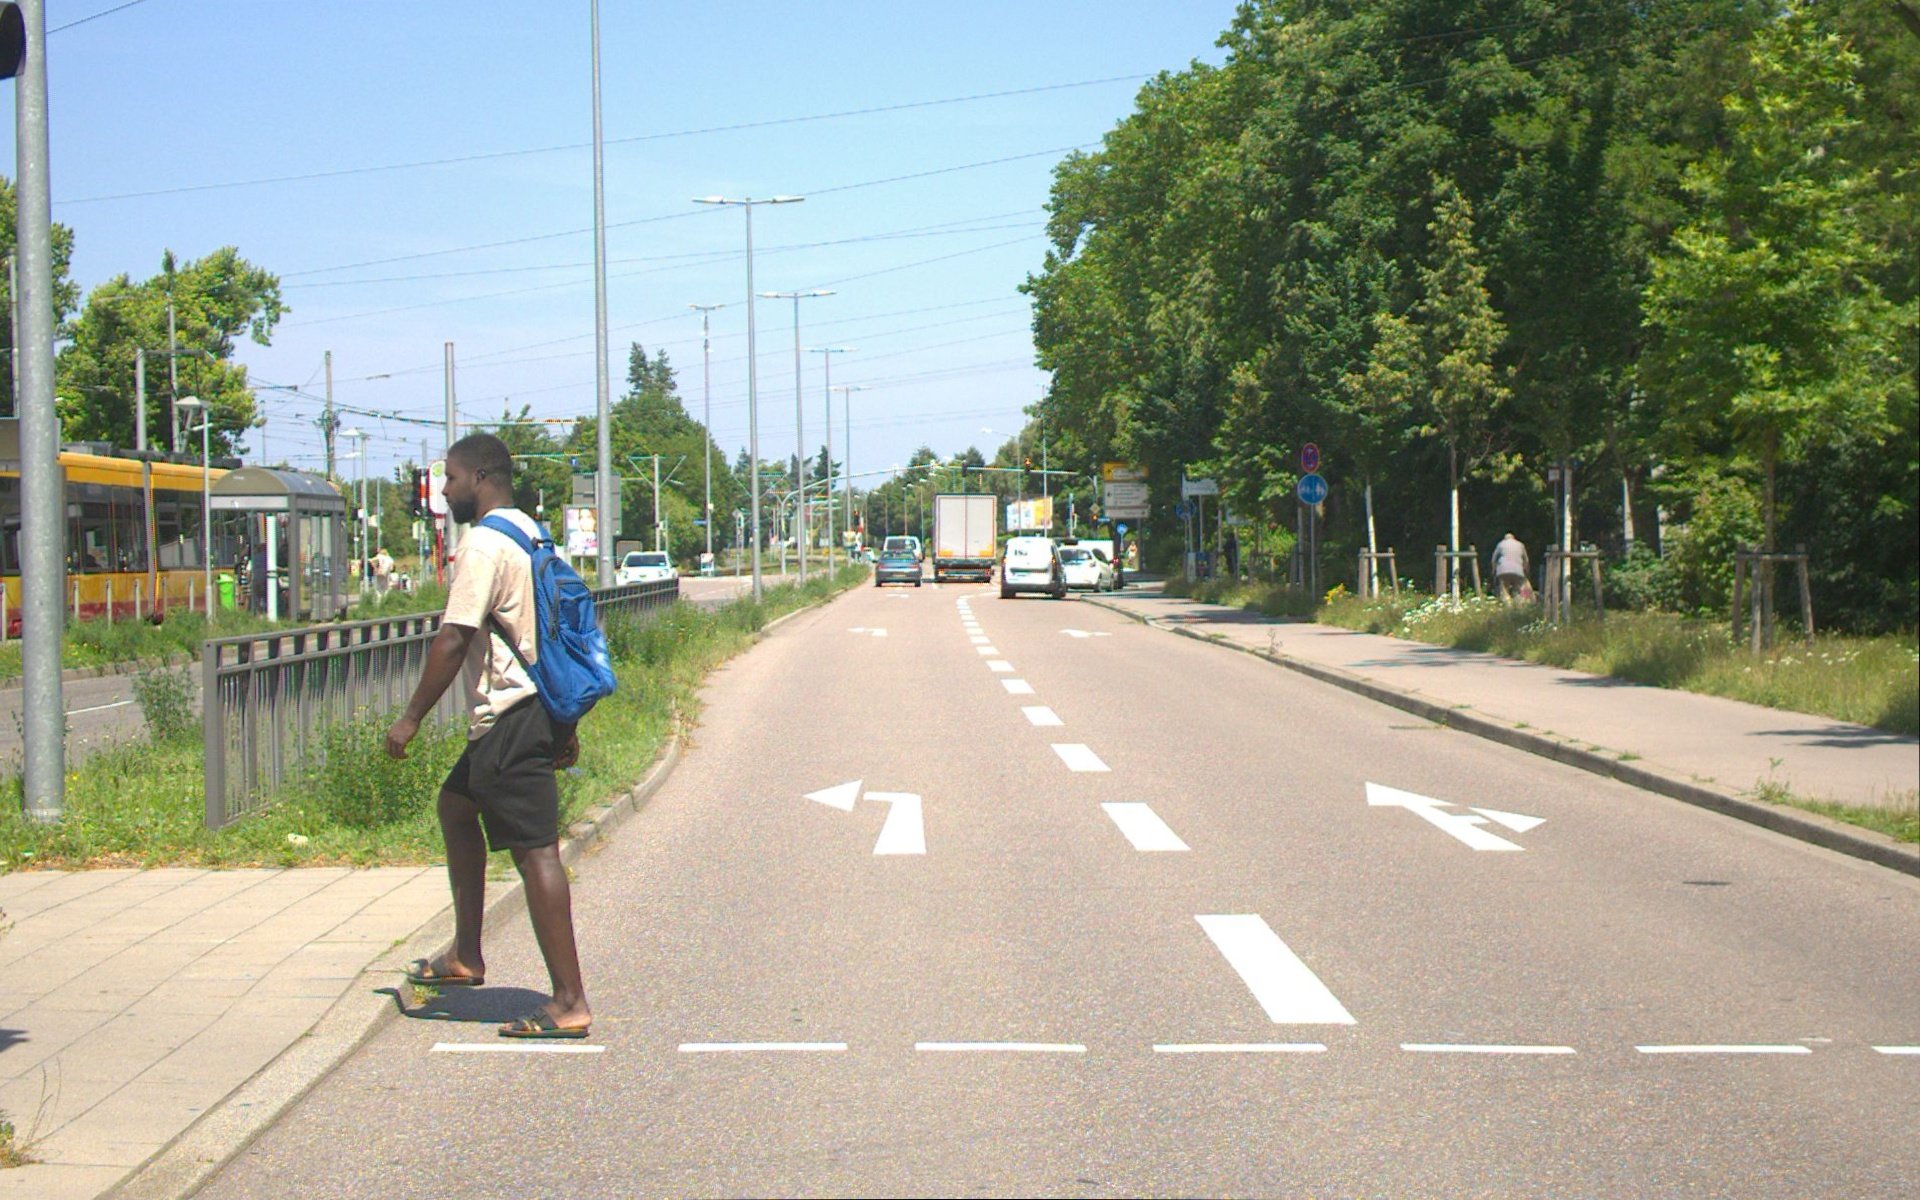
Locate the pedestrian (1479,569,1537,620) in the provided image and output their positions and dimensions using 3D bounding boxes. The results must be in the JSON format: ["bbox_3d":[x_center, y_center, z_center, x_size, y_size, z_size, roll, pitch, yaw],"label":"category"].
[{"bbox_3d":[9.279,-0.100,58.265,0.678,0.845,1.774,0,1,-1],"label":"pedestrian"}]

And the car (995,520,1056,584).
[{"bbox_3d":[1.935,-1.417,100.695,1.728,1.807,4.000,1,1,2],"label":"car"}]

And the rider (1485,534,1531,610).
[{"bbox_3d":[9.282,-0.473,58.227,0.678,1.277,0.534,0,1,-1],"label":"rider"}]

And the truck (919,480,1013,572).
[{"bbox_3d":[0.194,-3.181,148.108,3.899,3.800,10.793,0,1,-1],"label":"truck"}]

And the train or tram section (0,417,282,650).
[{"bbox_3d":[-16.508,-1.204,64.252,2.788,3.655,26.000,0,1,-1],"label":"train or tram section"}]

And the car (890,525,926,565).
[{"bbox_3d":[-2.473,-2.641,164.453,1.687,1.891,3.870,0,1,-1],"label":"car"}]

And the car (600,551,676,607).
[{"bbox_3d":[-9.843,-0.650,105.408,1.993,1.644,4.000,0,1,-1],"label":"car"}]

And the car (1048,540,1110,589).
[{"bbox_3d":[3.859,-1.181,112.204,1.803,1.534,4.000,1,1,-1],"label":"car"}]

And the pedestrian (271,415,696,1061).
[{"bbox_3d":[-1.413,0.386,10.295,1.047,1.844,0.757,0,1,15],"label":"pedestrian"}]

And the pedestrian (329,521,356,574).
[{"bbox_3d":[-23.046,-1.951,128.384,0.863,1.957,0.873,0,1,-1],"label":"pedestrian"}]

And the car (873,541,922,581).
[{"bbox_3d":[-2.352,-1.487,129.867,1.801,1.481,4.000,0,1,0],"label":"car"}]
